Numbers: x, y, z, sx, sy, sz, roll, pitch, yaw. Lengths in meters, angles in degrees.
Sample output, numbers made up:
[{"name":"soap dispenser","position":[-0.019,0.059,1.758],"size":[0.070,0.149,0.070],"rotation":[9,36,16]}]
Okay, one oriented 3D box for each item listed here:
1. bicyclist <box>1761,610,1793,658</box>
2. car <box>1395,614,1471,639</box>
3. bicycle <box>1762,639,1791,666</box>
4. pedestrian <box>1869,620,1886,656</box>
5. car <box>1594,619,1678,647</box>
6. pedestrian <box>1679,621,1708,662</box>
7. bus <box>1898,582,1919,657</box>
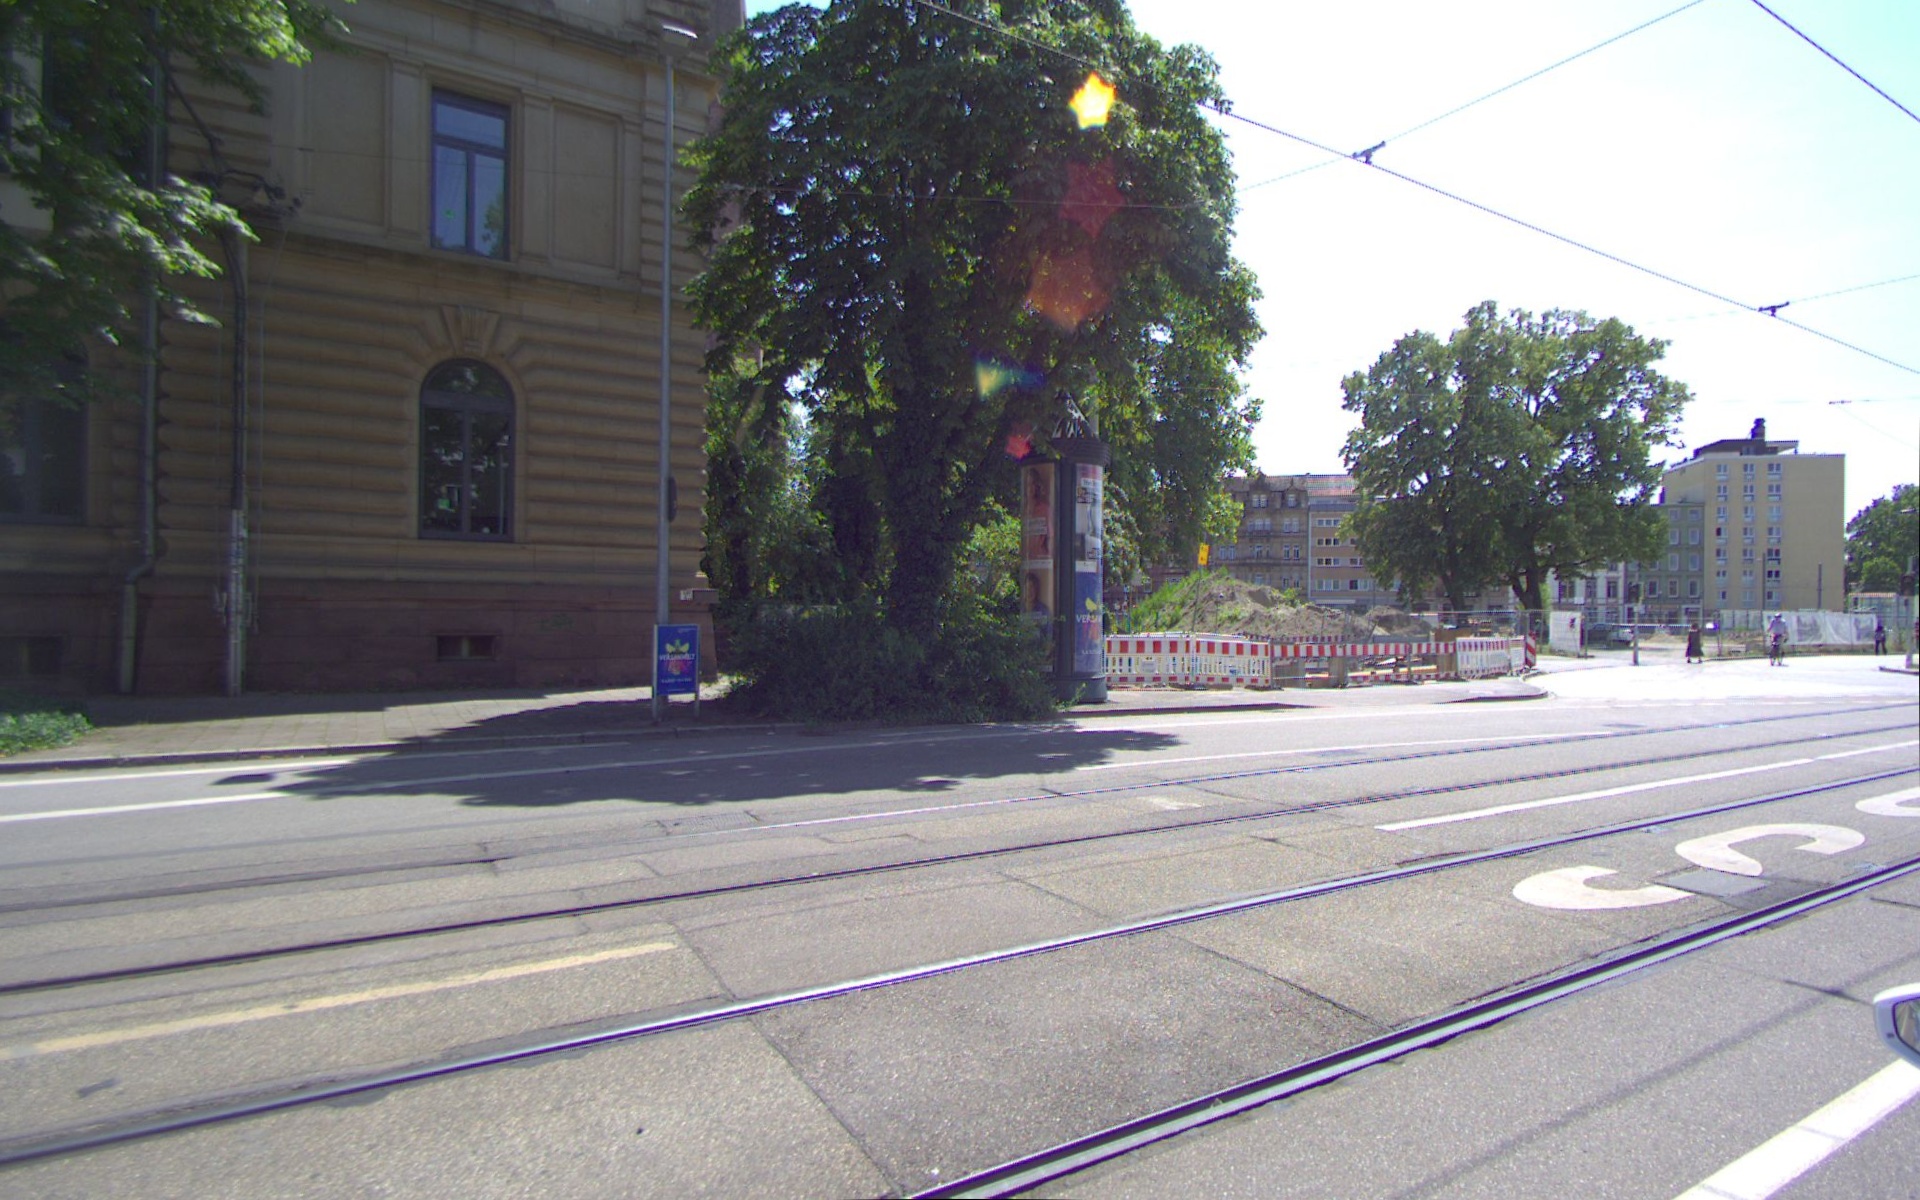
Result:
[{"name":"bicyclist","position":[30.177,1.251,37.088],"size":[0.765,1.732,0.813],"rotation":[1,-1,-43]},{"name":"car","position":[35.978,2.006,76.388],"size":[4.949,1.909,2.114],"rotation":[0,-1,-11]},{"name":"bicycle","position":[30.133,1.917,37.059],"size":[2.353,0.926,0.498],"rotation":[1,-1,-43]},{"name":"pedestrian","position":[45.162,1.873,49.441],"size":[0.394,1.728,0.562],"rotation":[0,-1,-38]},{"name":"car","position":[42.322,2.027,62.992],"size":[1.823,1.671,4.179],"rotation":[0,-1,-19]},{"name":"pedestrian","position":[29.394,1.638,40.248],"size":[0.813,1.623,0.605],"rotation":[0,-1,-21]},{"name":"bus","position":[48.500,0.924,46.369],"size":[17.296,3.200,2.995],"rotation":[1,-1,-31]}]
